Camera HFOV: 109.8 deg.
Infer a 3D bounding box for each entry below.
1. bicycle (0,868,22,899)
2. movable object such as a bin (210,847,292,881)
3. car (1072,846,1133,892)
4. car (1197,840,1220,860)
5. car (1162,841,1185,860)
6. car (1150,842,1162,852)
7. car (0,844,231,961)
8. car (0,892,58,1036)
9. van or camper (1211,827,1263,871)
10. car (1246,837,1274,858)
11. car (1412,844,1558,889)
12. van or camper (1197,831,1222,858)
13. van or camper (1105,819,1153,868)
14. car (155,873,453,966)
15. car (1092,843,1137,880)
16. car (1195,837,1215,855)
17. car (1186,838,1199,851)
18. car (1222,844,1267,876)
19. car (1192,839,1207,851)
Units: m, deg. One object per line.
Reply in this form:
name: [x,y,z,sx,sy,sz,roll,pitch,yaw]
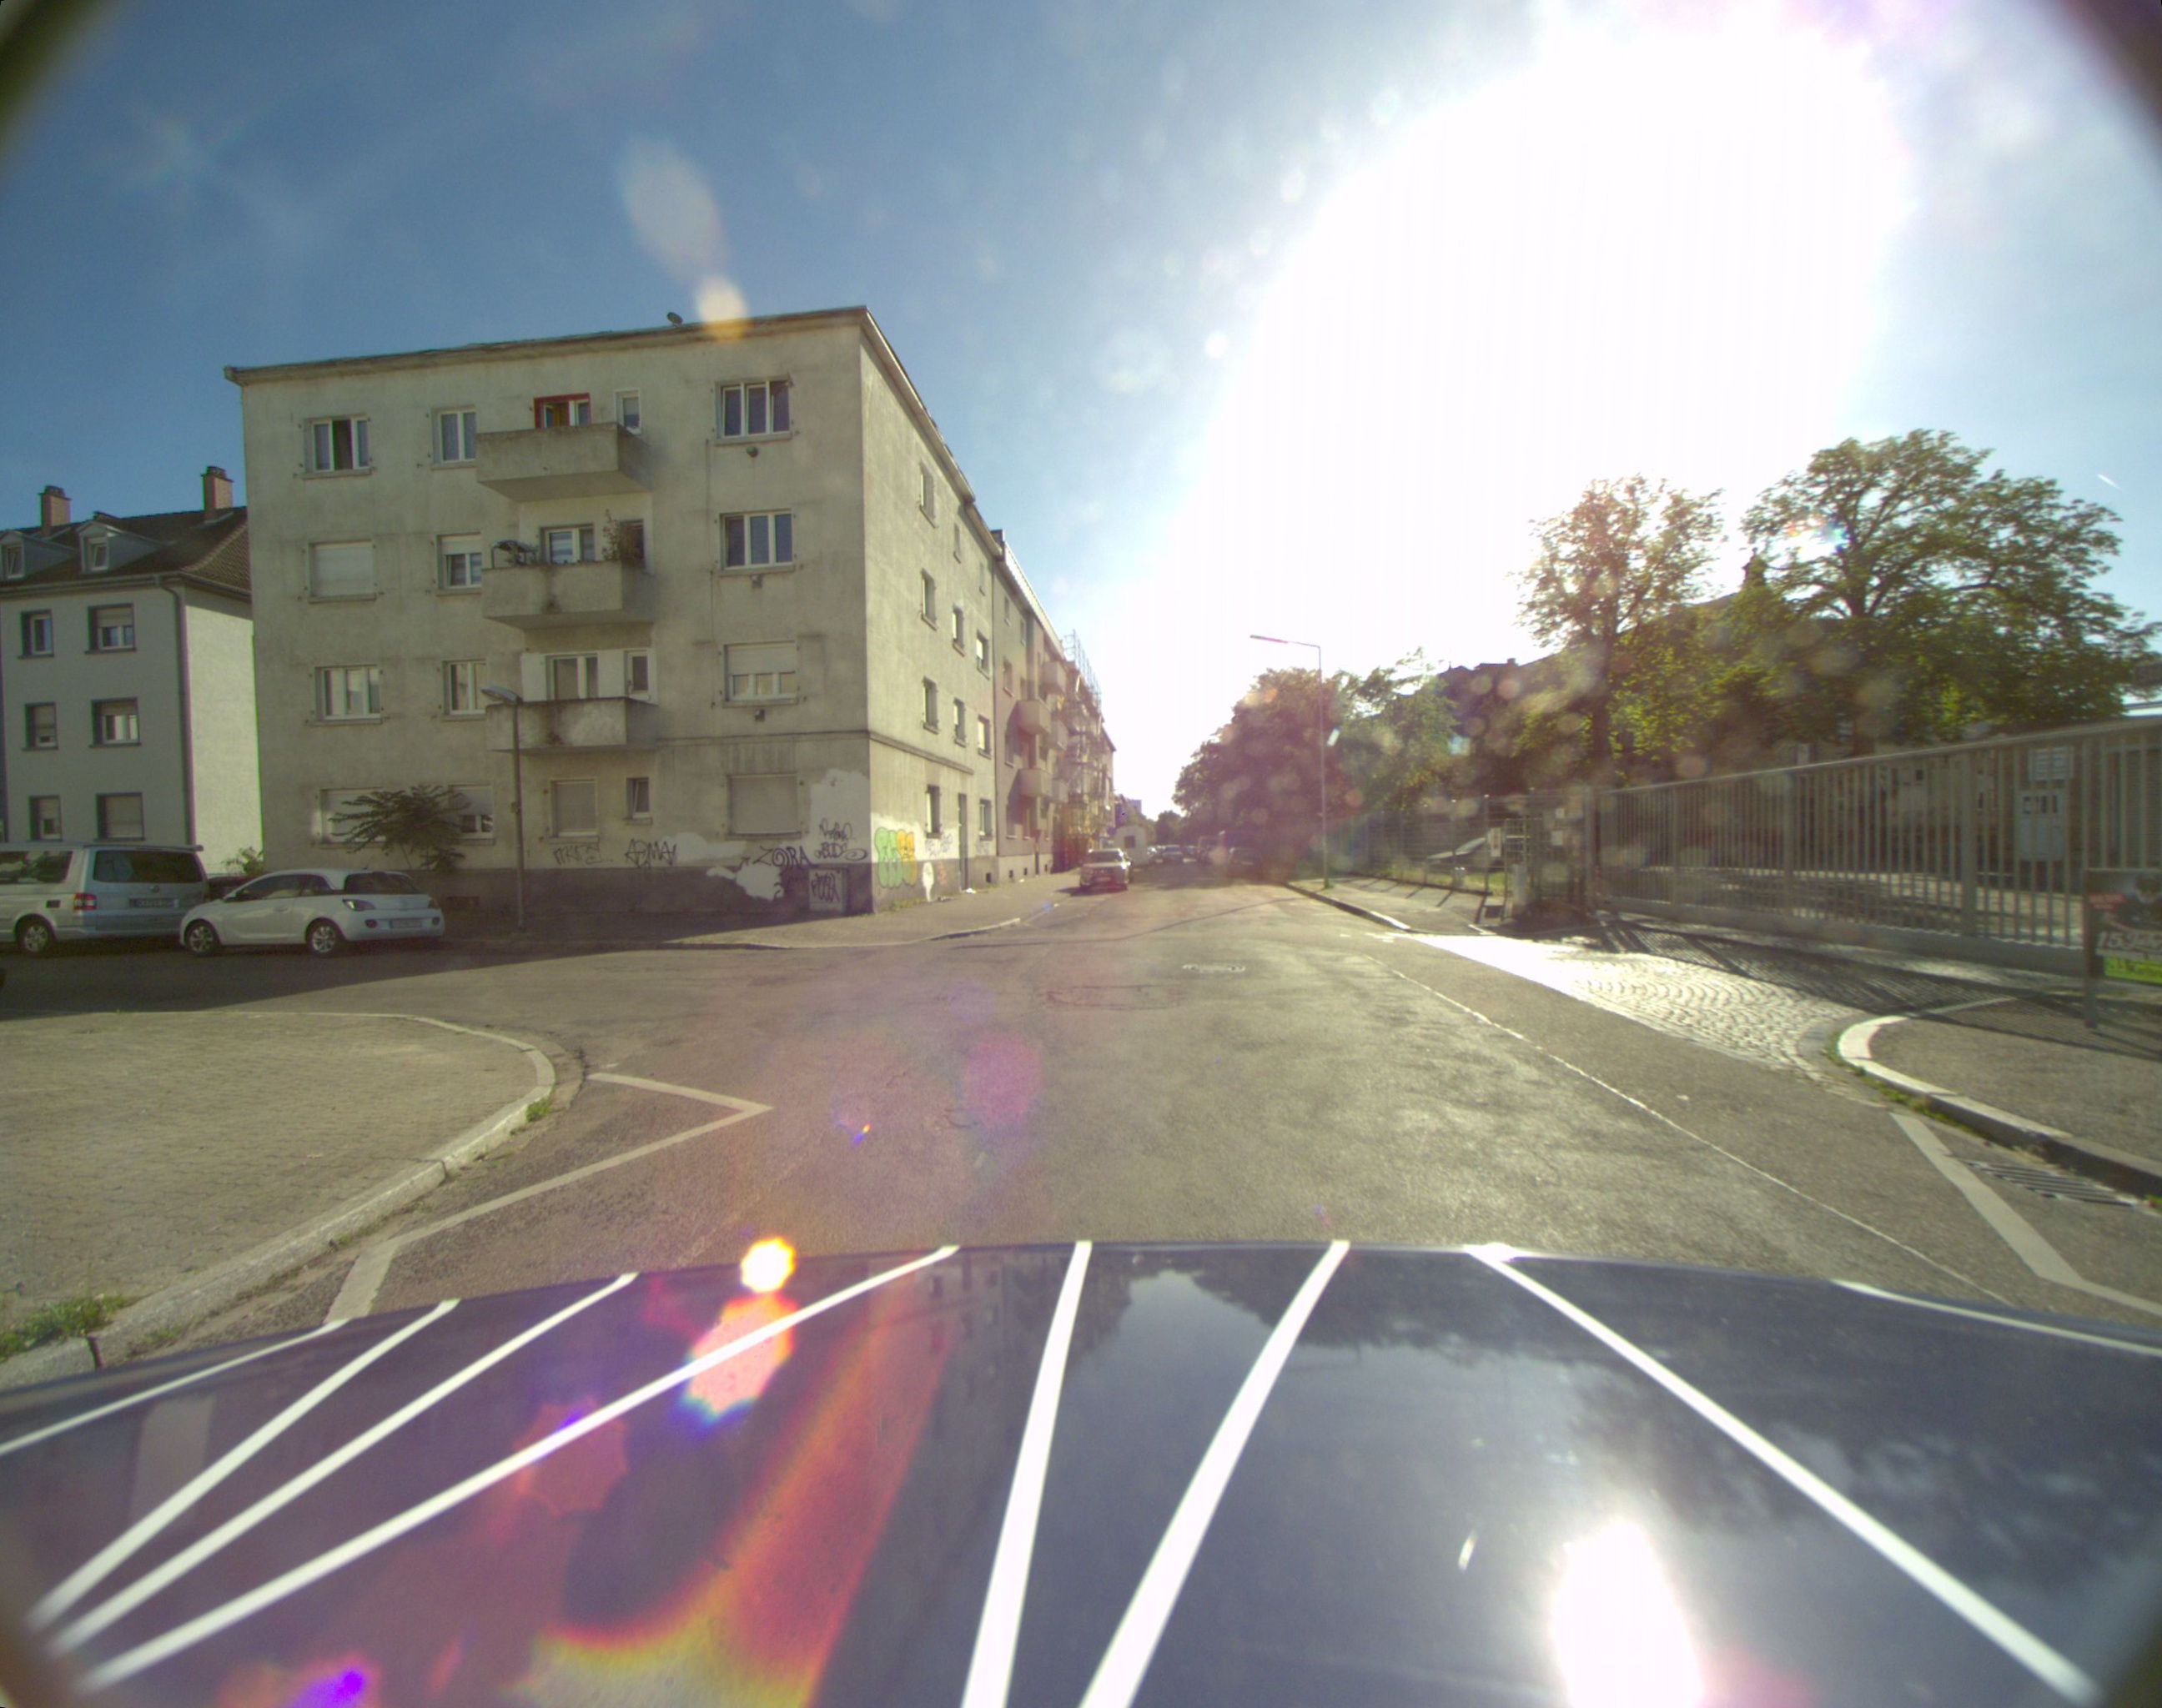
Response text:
bicycle: [-34.204,0.995,23.235,0.500,0.957,2.074,-1,4,7]
movable object such as a bin: [-24.582,0.285,22.532,1.202,0.993,1.134,0,0,7]
car: [0.905,0.520,29.425,2.068,1.544,4.001,-2,1,5]
car: [11.212,-0.354,66.975,1.651,1.674,4.001,-1,1,5]
car: [8.021,-0.303,66.231,1.861,1.543,4.001,-1,1,5]
car: [10.991,-1.021,111.476,1.651,1.451,4.001,-1,1,5]
car: [-18.634,0.836,13.678,4.850,1.922,1.958,-1,0,6]
car: [-12.730,1.100,7.199,4.044,1.406,1.805,-1,-1,6]
van or camper: [8.722,-0.333,42.943,2.210,2.268,5.311,-2,1,5]
car: [14.353,-0.550,61.199,1.651,1.674,4.001,-1,1,5]
car: [13.819,0.407,26.211,3.995,1.412,2.000,-1,1,5]
van or camper: [12.460,-0.932,73.924,2.125,2.484,4.001,-1,1,5]
van or camper: [3.356,-0.722,51.857,2.956,3.161,6.175,0,1,6]
car: [-13.282,1.077,13.099,3.716,1.450,1.693,-1,0,8]
car: [1.651,0.305,35.763,1.875,1.544,4.001,-2,1,5]
car: [14.521,-0.939,89.080,1.997,2.002,4.001,-1,1,6]
car: [17.994,-1.518,122.798,1.997,2.002,4.001,-1,1,6]
car: [7.937,0.238,37.106,1.651,1.409,4.001,-2,1,5]
car: [17.755,-1.311,114.249,1.997,1.739,4.001,-1,1,6]
